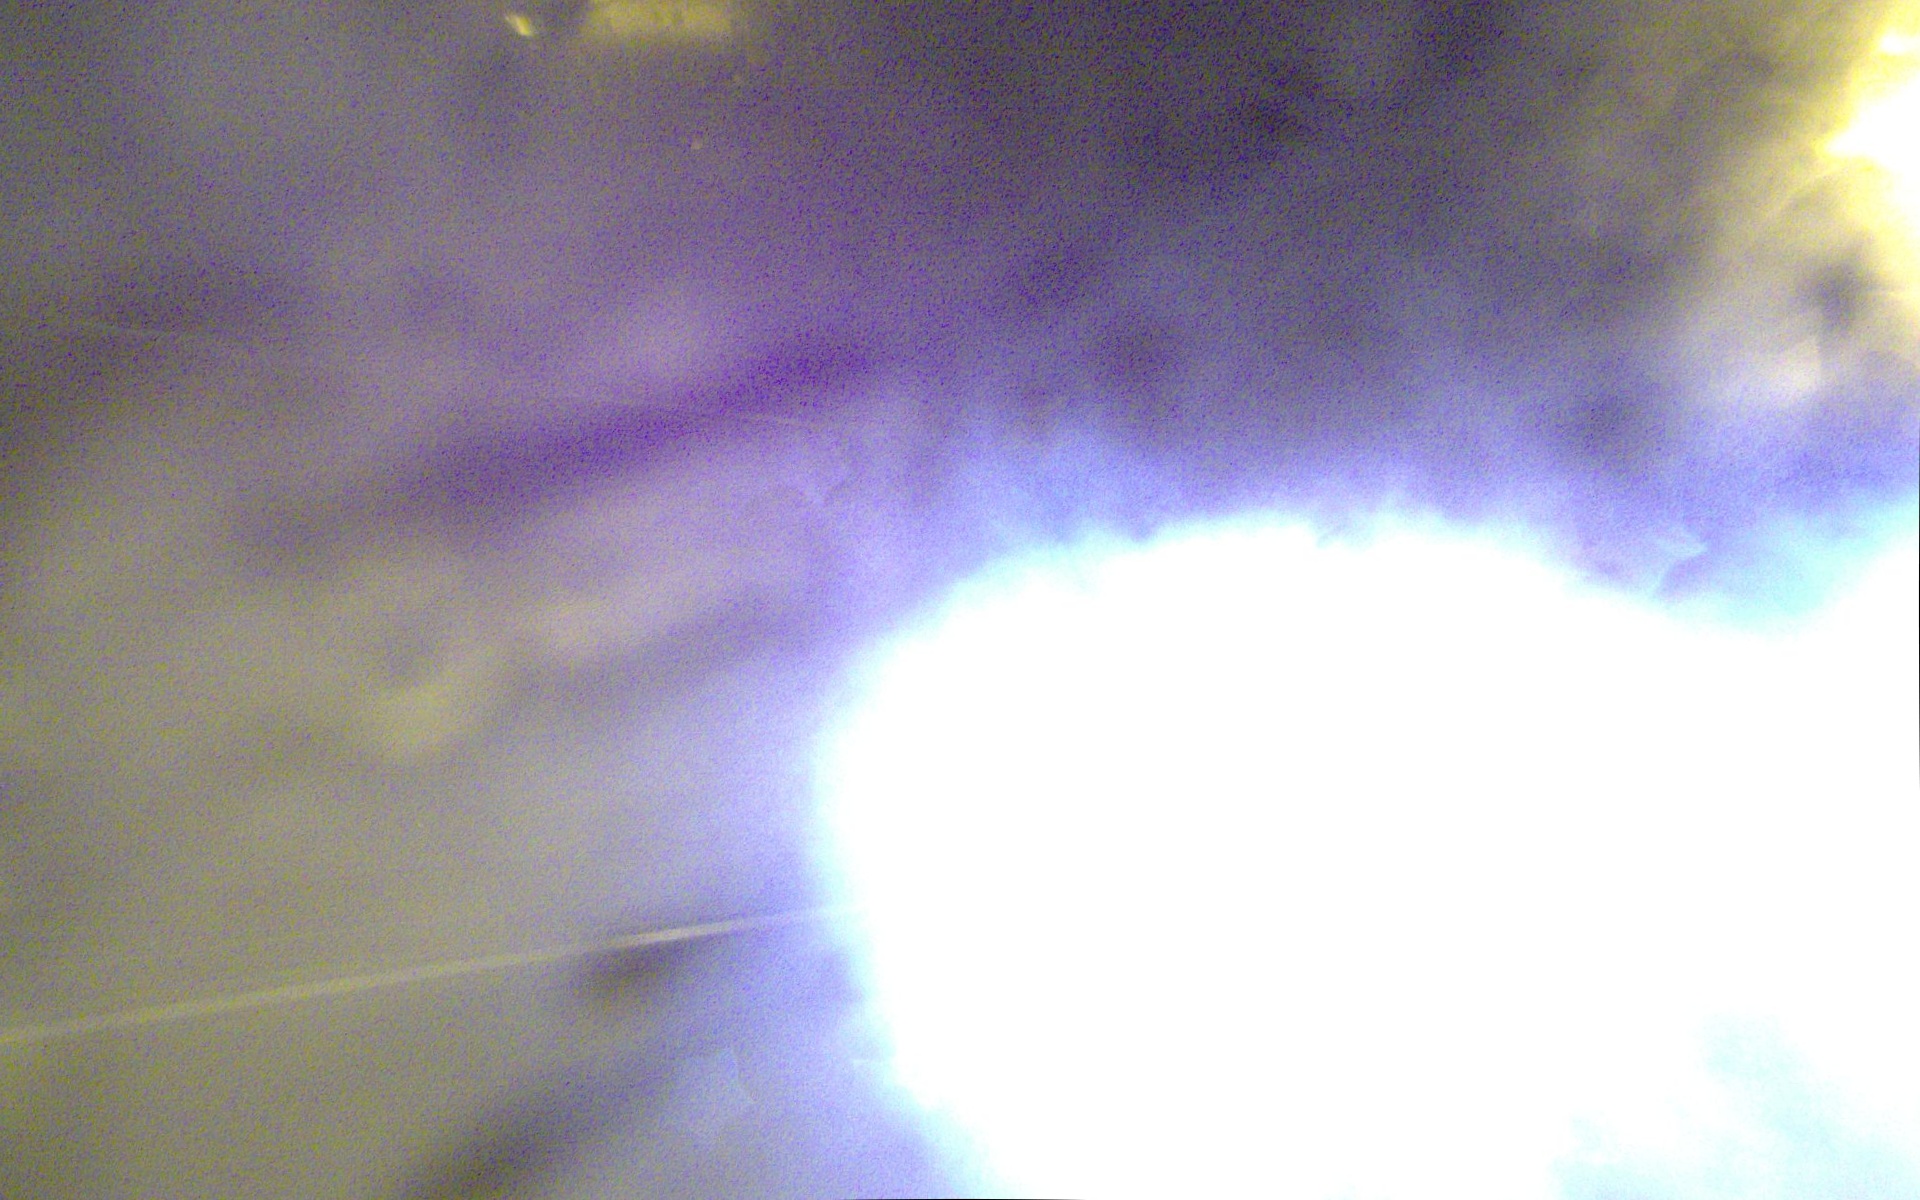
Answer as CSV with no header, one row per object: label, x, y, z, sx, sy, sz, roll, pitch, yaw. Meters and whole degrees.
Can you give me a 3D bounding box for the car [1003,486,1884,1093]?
car,2.262,0.561,4.482,3.861,1.669,1.661,0,-2,-30
